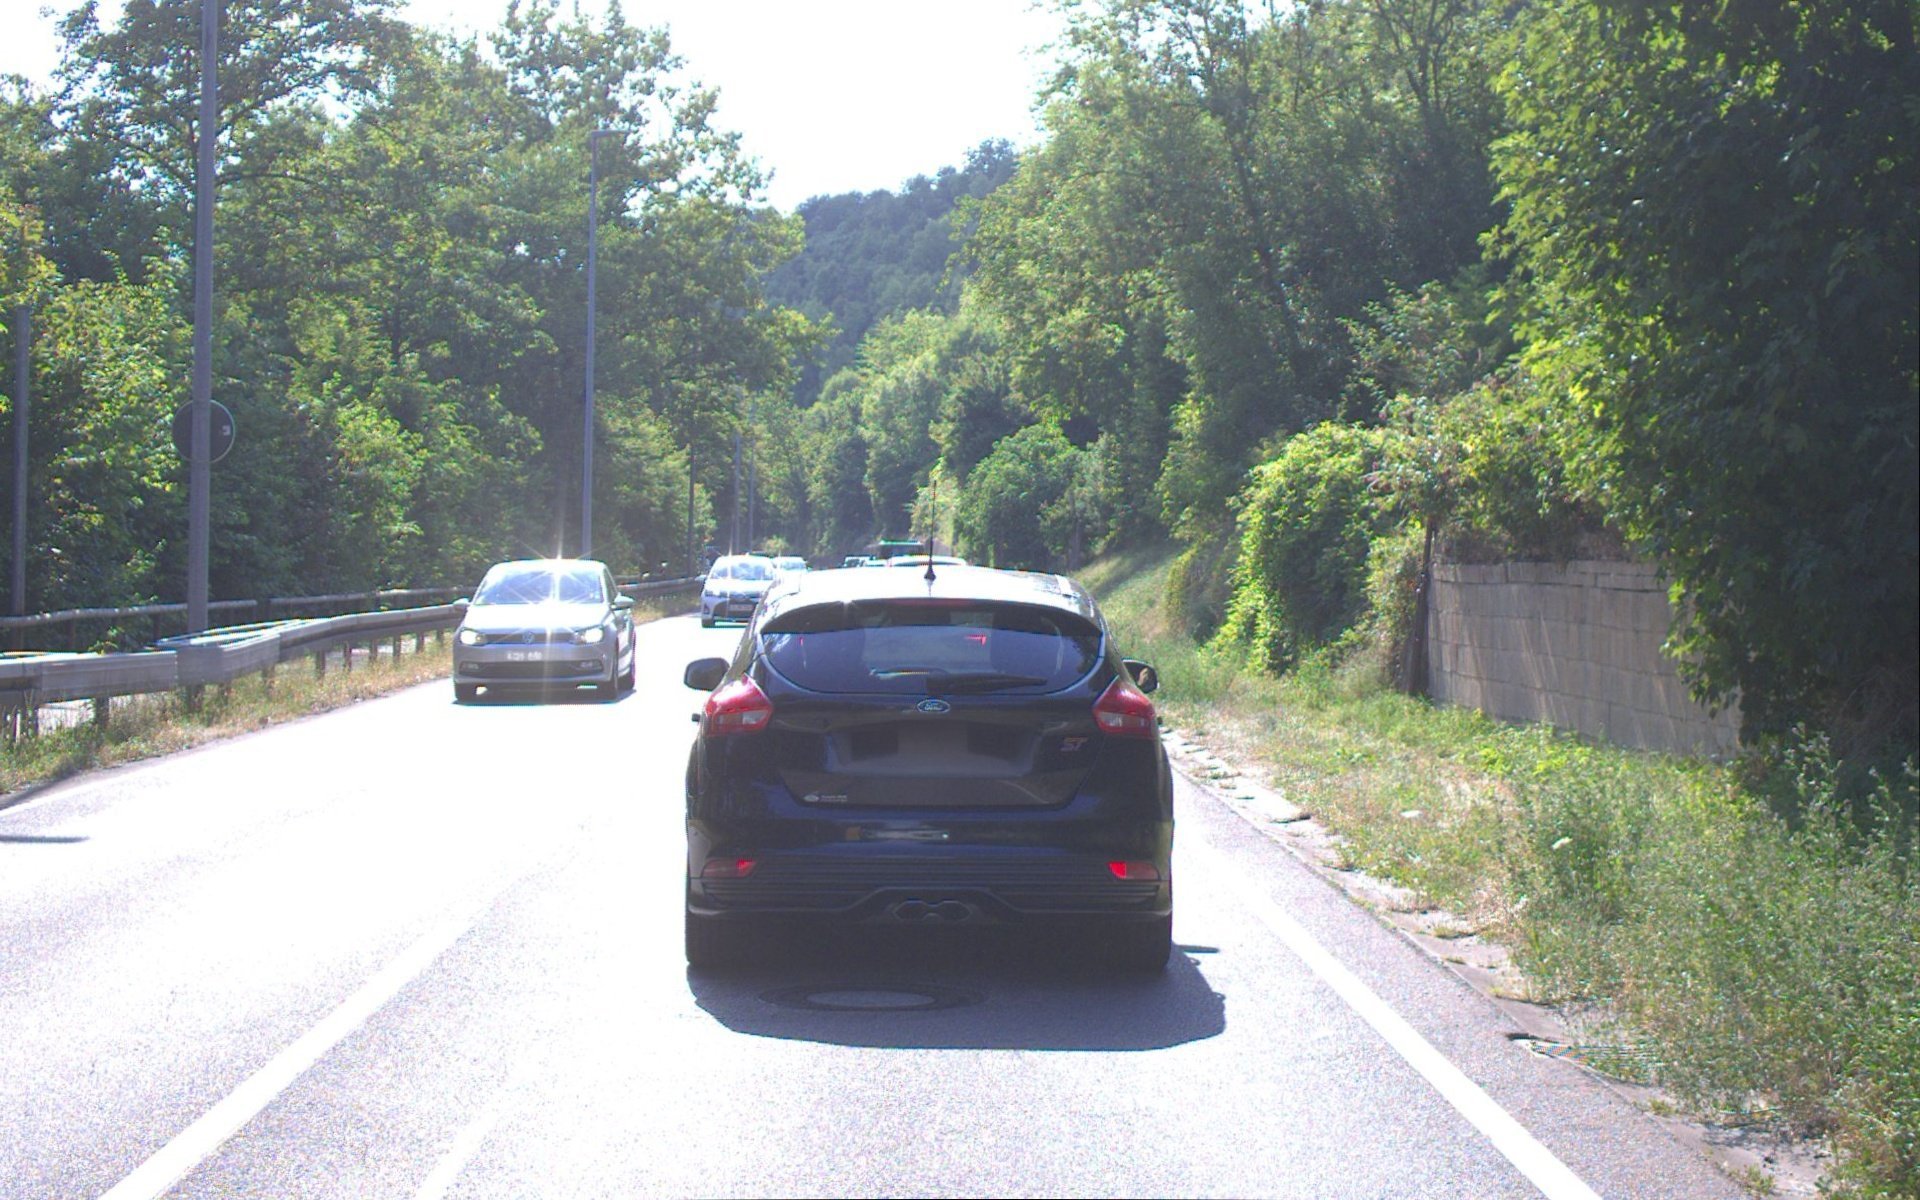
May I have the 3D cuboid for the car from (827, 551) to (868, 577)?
[{"bbox_3d":[-6.659,-2.148,202.382,1.993,1.514,4.001,0,1,-8],"label":"car"}]

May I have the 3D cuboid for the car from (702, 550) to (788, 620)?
[{"bbox_3d":[-4.667,-0.352,75.020,1.681,1.458,4.198,0,1,-1],"label":"car"}]

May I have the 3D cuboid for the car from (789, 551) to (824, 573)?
[{"bbox_3d":[-10.402,-2.569,232.629,1.993,1.514,4.001,0,1,-9],"label":"car"}]

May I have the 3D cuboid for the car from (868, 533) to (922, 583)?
[{"bbox_3d":[-2.385,-1.535,124.768,1.863,1.774,4.000,0,1,-2],"label":"car"}]

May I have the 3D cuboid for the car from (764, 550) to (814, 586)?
[{"bbox_3d":[-6.609,-1.253,133.147,1.775,1.383,4.000,0,1,-1],"label":"car"}]

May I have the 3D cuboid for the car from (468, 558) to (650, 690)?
[{"bbox_3d":[-4.384,0.225,38.083,1.623,1.372,4.048,0,1,-1],"label":"car"}]

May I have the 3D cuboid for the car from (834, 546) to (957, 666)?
[{"bbox_3d":[-0.874,0.043,47.679,1.631,1.590,4.000,0,1,-1],"label":"car"}]

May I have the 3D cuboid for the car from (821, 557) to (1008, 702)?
[{"bbox_3d":[-0.460,0.263,35.346,1.804,1.387,4.000,0,1,-1],"label":"car"}]

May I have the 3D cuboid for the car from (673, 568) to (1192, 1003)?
[{"bbox_3d":[-0.112,0.608,13.588,1.739,1.451,4.000,0,1,-1],"label":"car"}]

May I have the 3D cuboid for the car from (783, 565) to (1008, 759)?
[{"bbox_3d":[-0.450,0.442,27.490,1.661,1.413,4.000,0,1,1],"label":"car"}]

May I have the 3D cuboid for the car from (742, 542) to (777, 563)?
[{"bbox_3d":[-14.721,-3.473,252.026,1.993,1.514,4.001,0,1,-12],"label":"car"}]
